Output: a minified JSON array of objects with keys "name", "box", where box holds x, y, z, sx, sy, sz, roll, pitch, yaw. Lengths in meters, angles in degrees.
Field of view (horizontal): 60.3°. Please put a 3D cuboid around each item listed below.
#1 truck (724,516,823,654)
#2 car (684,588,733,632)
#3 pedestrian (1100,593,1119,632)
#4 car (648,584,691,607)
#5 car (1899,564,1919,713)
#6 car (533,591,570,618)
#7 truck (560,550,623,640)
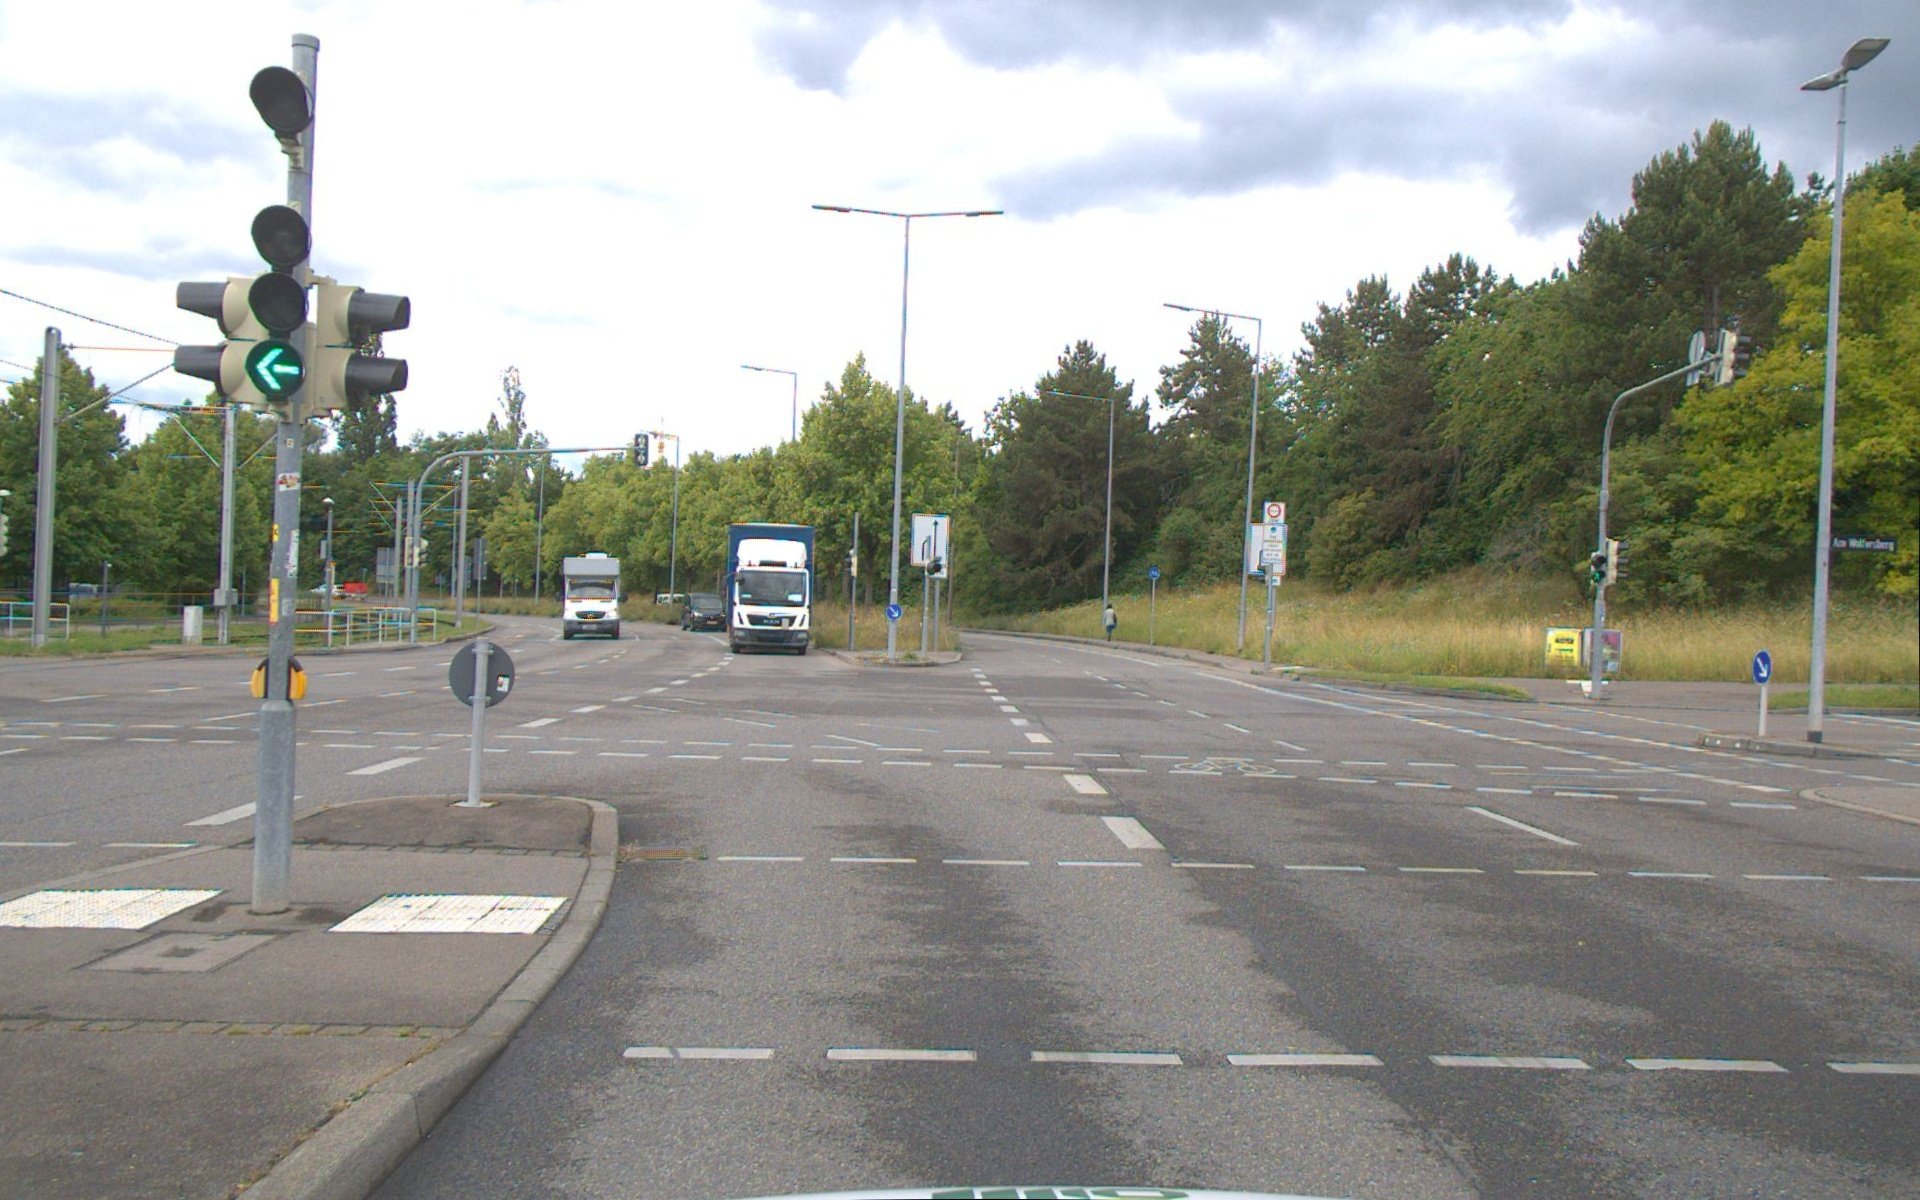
[{"name":"truck","box":[-5.771,-0.443,51.316,2.725,3.871,8.377,1,0,-6]},{"name":"car","box":[-12.285,0.444,80.654,1.960,2.049,4.592,1,0,-14]},{"name":"pedestrian","box":[6.708,0.547,74.225,0.724,1.747,0.625,1,0,-1]},{"name":"car","box":[-23.275,-0.387,132.450,1.979,1.758,3.677,1,0,-37]},{"name":"car","box":[20.400,0.735,29.683,5.818,2.705,2.228,1,-1,1]},{"name":"car","box":[-29.058,0.312,117.600,1.967,1.814,3.971,1,0,-23]},{"name":"truck","box":[-13.629,-0.187,61.262,2.068,3.063,6.254,-2,0,-12]}]
